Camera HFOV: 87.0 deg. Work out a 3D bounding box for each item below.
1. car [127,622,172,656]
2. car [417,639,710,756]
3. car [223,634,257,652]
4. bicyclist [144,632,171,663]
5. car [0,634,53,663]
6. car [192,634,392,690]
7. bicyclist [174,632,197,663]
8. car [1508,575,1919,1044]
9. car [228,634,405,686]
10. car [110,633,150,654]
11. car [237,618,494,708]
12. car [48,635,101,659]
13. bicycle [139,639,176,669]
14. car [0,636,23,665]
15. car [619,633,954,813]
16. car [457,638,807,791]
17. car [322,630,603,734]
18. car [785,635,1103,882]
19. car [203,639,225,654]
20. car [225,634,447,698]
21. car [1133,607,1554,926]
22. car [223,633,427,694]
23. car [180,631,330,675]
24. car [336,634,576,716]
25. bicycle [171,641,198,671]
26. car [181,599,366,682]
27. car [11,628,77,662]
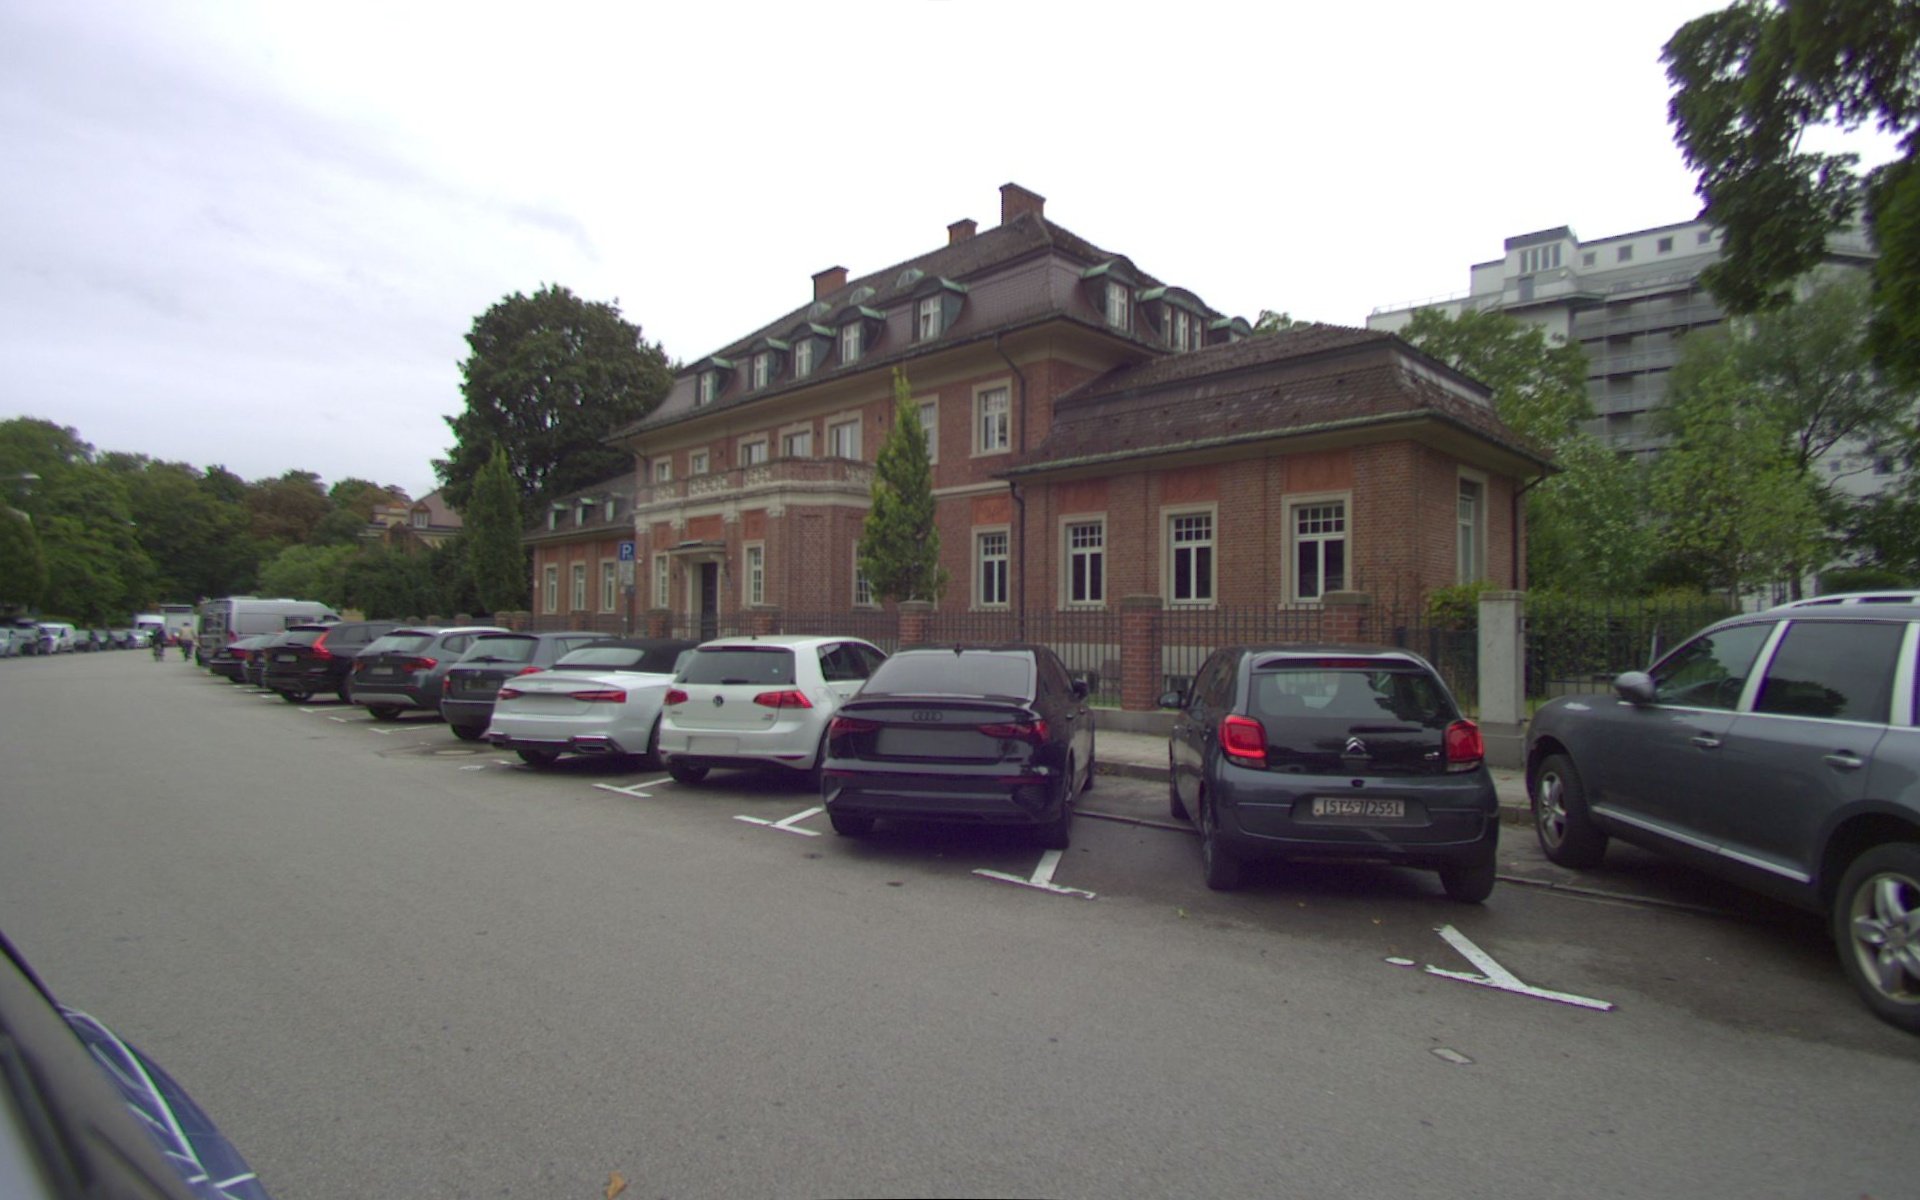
[{"bbox_3d":[-69.152,3.386,86.436,2.051,2.707,6.105,4,-4,-31],"label":"car"},{"bbox_3d":[-5.615,1.326,15.007,1.643,1.462,4.369,-1,-3,18],"label":"car"},{"bbox_3d":[-72.990,4.386,102.618,1.965,1.706,4.348,-2,-2,-24],"label":"car"},{"bbox_3d":[-36.044,2.137,45.473,0.687,1.362,0.933,1,-2,-23],"label":"bicyclist"},{"bbox_3d":[-52.034,2.681,56.088,1.723,1.492,4.611,1,-3,-30],"label":"car"},{"bbox_3d":[-19.158,1.774,29.270,1.964,1.462,4.493,-1,-3,22],"label":"car"},{"bbox_3d":[-35.328,2.174,46.158,0.687,1.408,0.933,1,-3,-30],"label":"bicyclist"},{"bbox_3d":[4.715,0.824,4.910,2.111,1.712,4.402,1,-2,7],"label":"car"},{"bbox_3d":[-20.600,1.863,32.614,1.926,1.528,4.490,-1,-2,24],"label":"car"},{"bbox_3d":[-65.977,3.507,80.486,1.845,1.581,5.015,4,-5,-33],"label":"car"},{"bbox_3d":[-12.476,1.313,21.644,1.972,1.677,4.497,0,-3,19],"label":"car"},{"bbox_3d":[-57.452,3.052,65.729,1.723,1.475,4.255,2,-3,-30],"label":"car"},{"bbox_3d":[-36.080,2.423,45.537,0.696,1.315,2.125,1,-2,-22],"label":"bicycle"},{"bbox_3d":[-49.870,2.586,51.992,1.723,1.492,3.899,1,-3,-31],"label":"car"},{"bbox_3d":[-1.594,1.229,11.195,1.914,1.521,4.494,0,-4,15],"label":"car"},{"bbox_3d":[-3.642,1.222,12.274,1.879,1.462,4.494,0,-3,15],"label":"car"},{"bbox_3d":[-8.553,1.352,17.935,1.874,1.579,4.501,0,-2,17],"label":"car"},{"bbox_3d":[0.188,1.035,8.420,1.943,1.450,4.400,0,-2,9],"label":"car"},{"bbox_3d":[-78.895,4.925,107.037,1.867,1.457,4.278,-1,-3,-37],"label":"car"},{"bbox_3d":[-15.379,1.640,25.279,1.913,1.429,4.497,0,-4,19],"label":"car"},{"bbox_3d":[2.407,0.949,7.625,1.942,1.642,4.402,1,-2,7],"label":"car"},{"bbox_3d":[-17.010,1.707,27.398,1.806,1.462,4.497,0,-3,19],"label":"car"},{"bbox_3d":[-28.058,2.127,40.452,1.955,1.606,4.487,0,-3,26],"label":"car"},{"bbox_3d":[-10.129,1.508,20.741,1.807,1.483,4.299,0,-4,21],"label":"car"},{"bbox_3d":[-35.355,2.530,46.160,0.697,1.315,2.125,1,-3,-30],"label":"bicycle"},{"bbox_3d":[-22.953,1.403,34.057,2.222,2.583,4.596,-1,-3,26],"label":"car"},{"bbox_3d":[-54.692,2.674,60.526,1.797,1.875,4.913,0,-2,-29],"label":"car"}]
